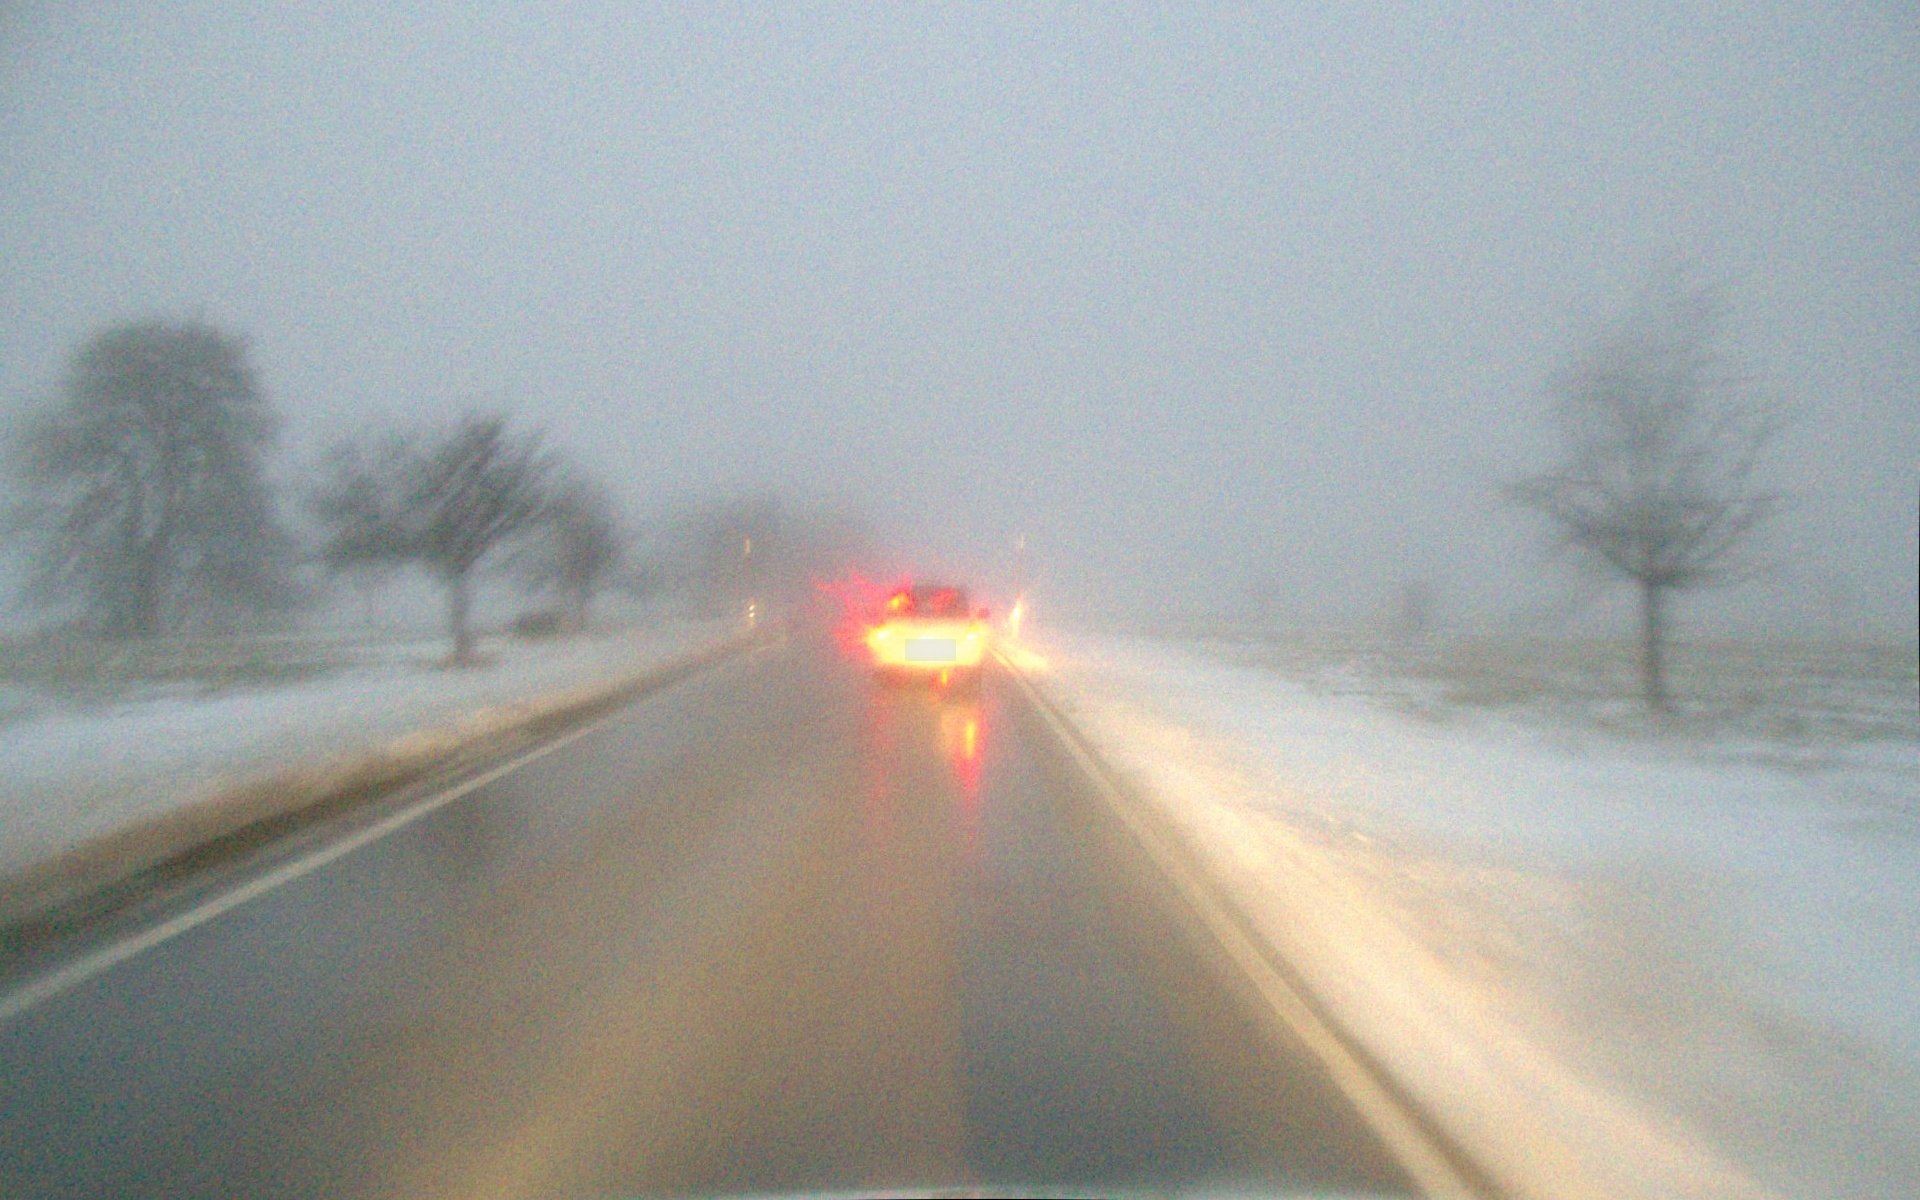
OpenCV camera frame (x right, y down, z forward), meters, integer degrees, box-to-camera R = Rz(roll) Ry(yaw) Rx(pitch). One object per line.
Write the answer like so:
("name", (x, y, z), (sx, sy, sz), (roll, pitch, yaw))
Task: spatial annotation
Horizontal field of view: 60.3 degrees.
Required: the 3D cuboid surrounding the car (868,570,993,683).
("car", (-0.404, 0.363, 24.620), (1.672, 1.489, 4.000), (2, 0, 0))
